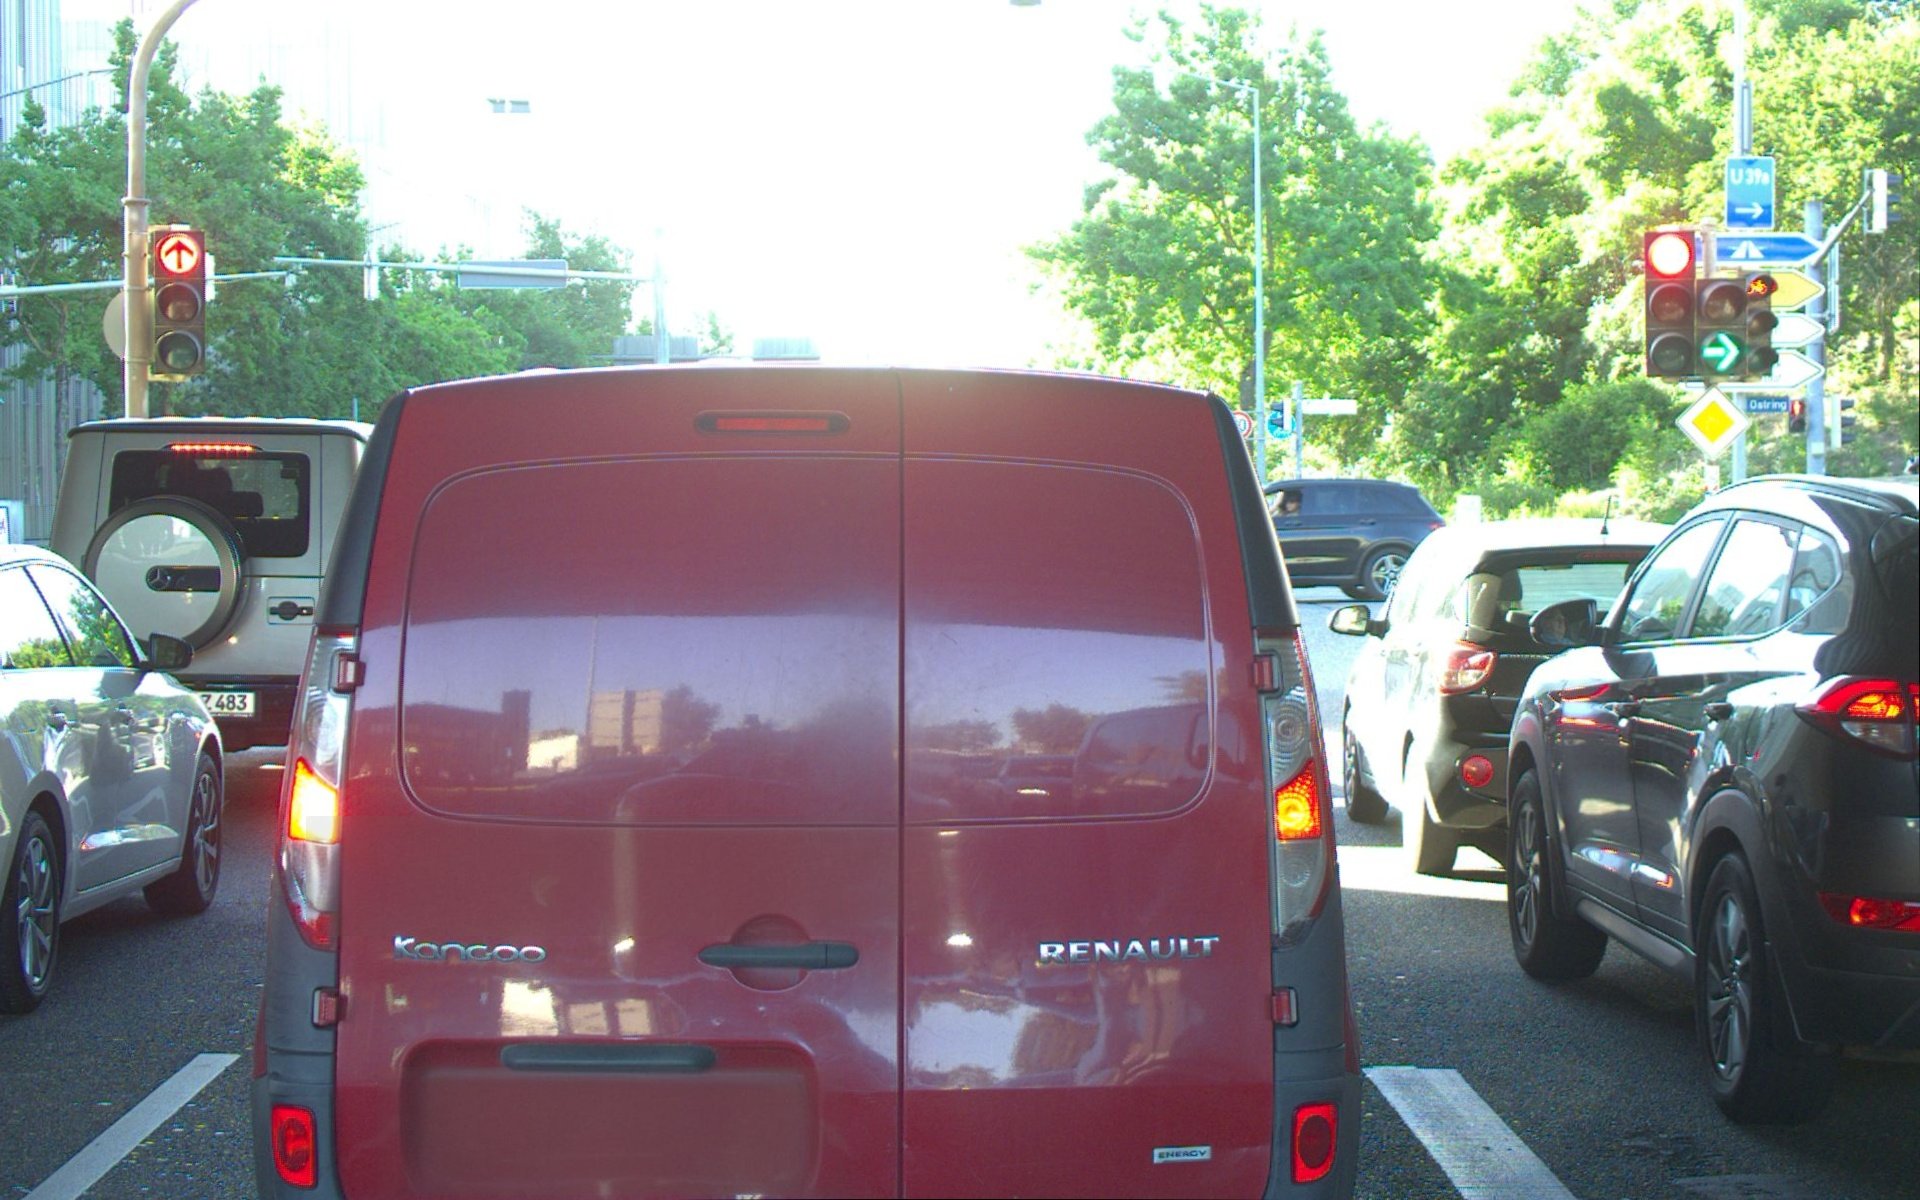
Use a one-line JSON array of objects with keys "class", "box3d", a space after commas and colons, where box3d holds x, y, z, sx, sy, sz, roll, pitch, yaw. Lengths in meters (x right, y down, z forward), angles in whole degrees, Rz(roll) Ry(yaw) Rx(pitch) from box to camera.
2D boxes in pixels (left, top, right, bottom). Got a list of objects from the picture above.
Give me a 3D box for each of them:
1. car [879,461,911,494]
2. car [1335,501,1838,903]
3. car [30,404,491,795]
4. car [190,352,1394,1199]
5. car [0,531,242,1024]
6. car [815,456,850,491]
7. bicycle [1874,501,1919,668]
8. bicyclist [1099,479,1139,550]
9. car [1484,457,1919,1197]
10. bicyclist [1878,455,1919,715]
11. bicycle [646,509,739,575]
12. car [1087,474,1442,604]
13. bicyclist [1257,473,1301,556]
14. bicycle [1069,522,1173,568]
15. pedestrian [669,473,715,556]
[{"class": "car", "box3d": [-4.167, -7.853, 220.640, 1.993, 2.007, 4.000, 1, 1, -1]}, {"class": "car", "box3d": [2.705, 0.351, 15.646, 1.652, 1.546, 3.864, 1, 2, 2]}, {"class": "car", "box3d": [-3.695, -0.038, 18.786, 1.813, 1.897, 3.814, 1, 1, -1]}, {"class": "car", "box3d": [-0.268, 0.494, 6.956, 1.719, 1.758, 4.000, 1, 1, -1]}, {"class": "car", "box3d": [-3.623, 0.472, 11.499, 1.692, 1.405, 3.814, 1, 1, -1]}, {"class": "car", "box3d": [-7.808, -7.757, 211.186, 1.993, 2.007, 4.000, 1, 1, -1]}, {"class": "bicycle", "box3d": [6.207, -0.093, 21.740, 0.677, 1.020, 1.528, 1, 1, 10]}, {"class": "bicyclist", "box3d": [3.000, -1.617, 64.953, 0.652, 1.325, 0.603, 1, 0, -4]}, {"class": "car", "box3d": [2.749, 0.477, 9.694, 1.778, 1.650, 3.991, 1, 1, -2]}, {"class": "bicyclist", "box3d": [6.214, -0.090, 21.800, 0.677, 1.623, 0.644, 1, 0, 10]}, {"class": "bicycle", "box3d": [-4.976, -1.078, 64.010, 1.729, 1.229, 0.558, 0, 1, -3]}, {"class": "car", "box3d": [3.978, -0.796, 45.411, 4.346, 1.602, 2.000, 1, 1, -5]}, {"class": "bicyclist", "box3d": [5.942, -1.599, 64.067, 0.755, 1.537, 0.697, 0, 1, 0]}, {"class": "bicycle", "box3d": [3.038, -1.040, 64.966, 1.912, 0.864, 0.605, 0, 1, -4]}, {"class": "pedestrian", "box3d": [-4.992, -1.591, 63.998, 0.836, 1.549, 0.557, 0, 1, -3]}]
